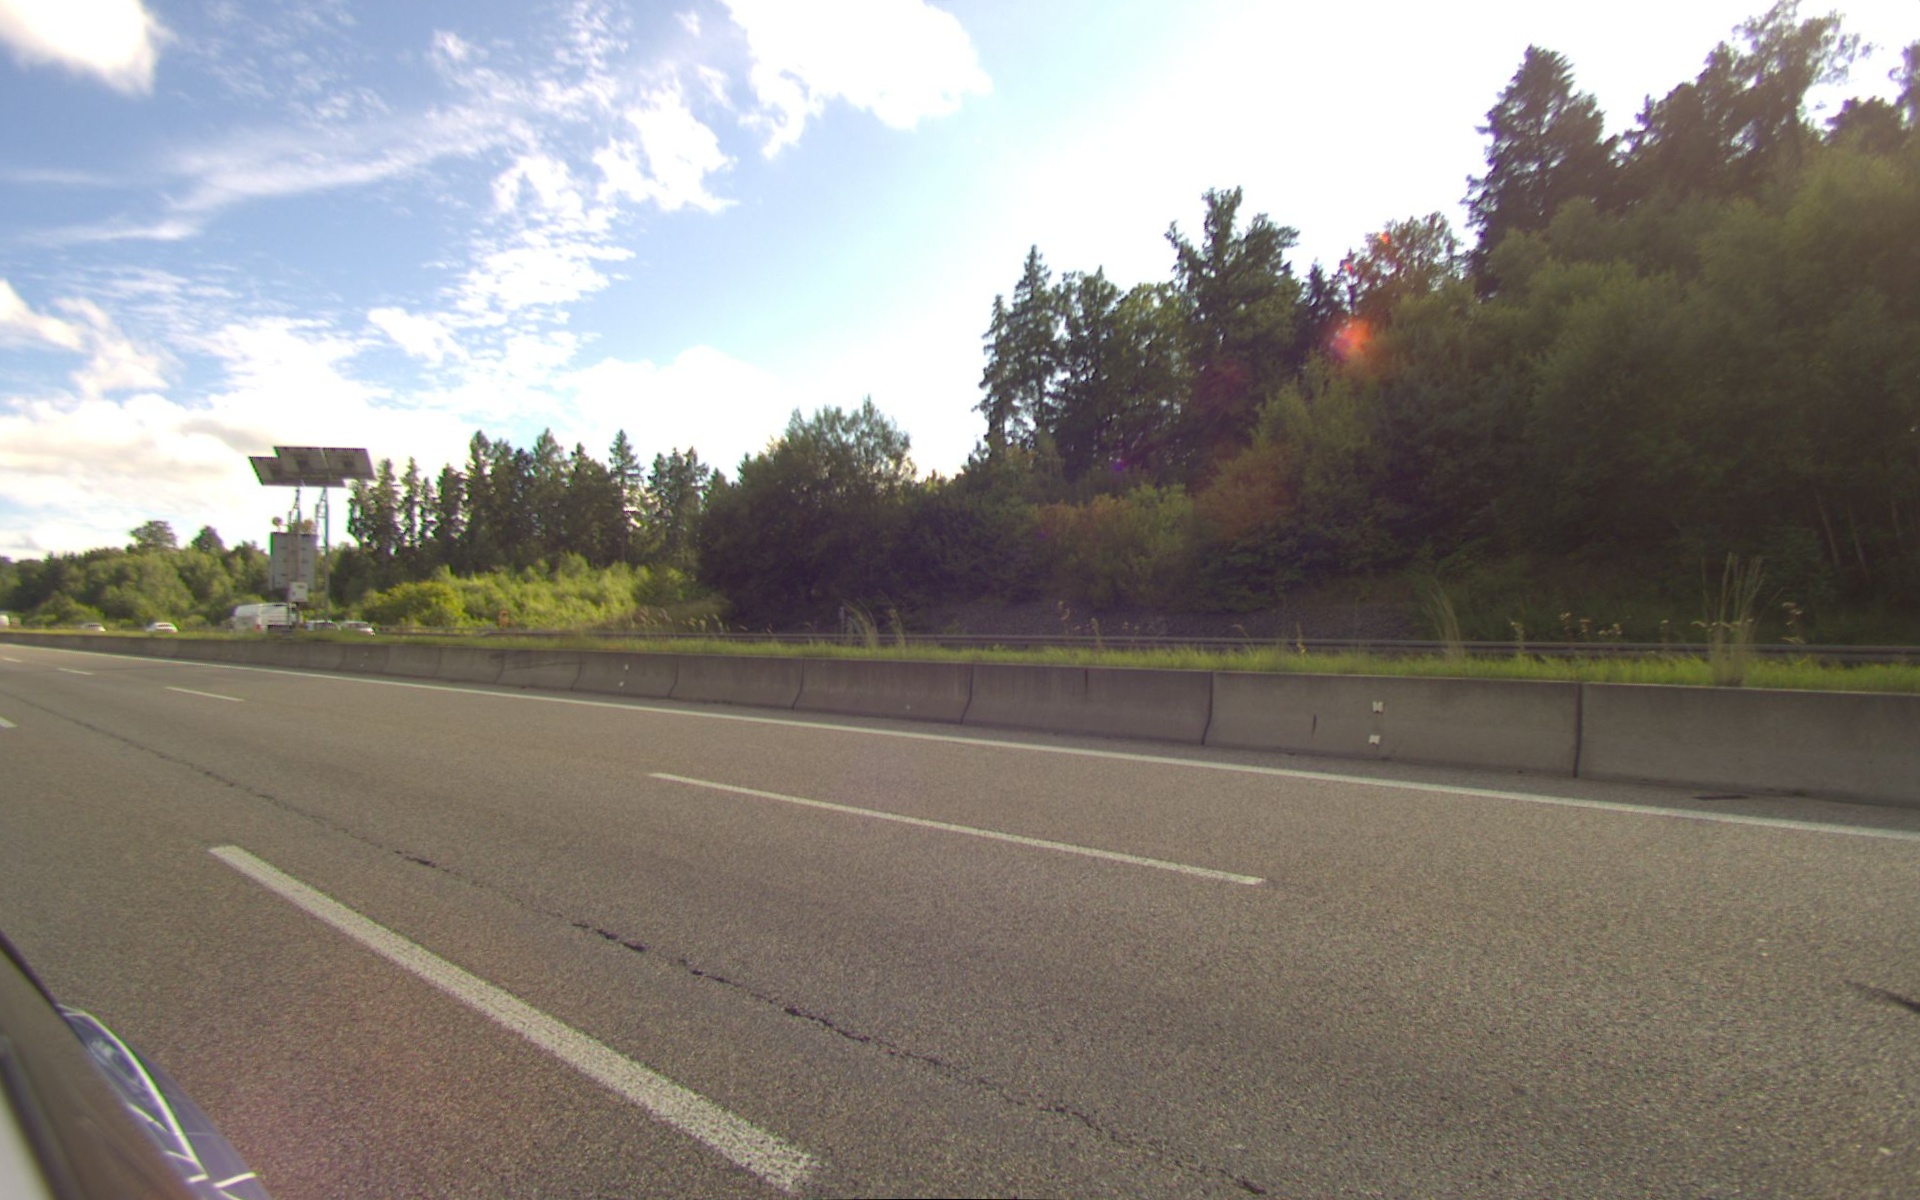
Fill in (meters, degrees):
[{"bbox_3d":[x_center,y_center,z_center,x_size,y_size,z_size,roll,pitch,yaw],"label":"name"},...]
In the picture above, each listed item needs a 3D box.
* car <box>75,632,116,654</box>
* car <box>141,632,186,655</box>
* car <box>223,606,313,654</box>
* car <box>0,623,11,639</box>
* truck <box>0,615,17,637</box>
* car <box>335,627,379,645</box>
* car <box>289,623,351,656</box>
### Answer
[{"bbox_3d":[-91.896,4.530,107.569,5.964,2.155,2.551,-2,-1,42],"label":"car"},{"bbox_3d":[-78.990,4.274,100.371,5.964,2.155,2.551,-2,-1,42],"label":"car"},{"bbox_3d":[-36.008,1.560,52.587,5.827,2.364,2.551,-2,-1,42],"label":"car"},{"bbox_3d":[-148.533,4.829,156.399,6.722,2.330,2.087,-2,-1,42],"label":"car"},{"bbox_3d":[-170.803,4.611,180.602,7.120,3.867,3.082,-2,-1,42],"label":"truck"},{"bbox_3d":[-38.259,2.266,64.201,3.172,1.102,1.575,-2,-1,42],"label":"car"},{"bbox_3d":[-37.112,2.271,58.637,4.492,1.819,1.904,-2,-1,42],"label":"car"}]
